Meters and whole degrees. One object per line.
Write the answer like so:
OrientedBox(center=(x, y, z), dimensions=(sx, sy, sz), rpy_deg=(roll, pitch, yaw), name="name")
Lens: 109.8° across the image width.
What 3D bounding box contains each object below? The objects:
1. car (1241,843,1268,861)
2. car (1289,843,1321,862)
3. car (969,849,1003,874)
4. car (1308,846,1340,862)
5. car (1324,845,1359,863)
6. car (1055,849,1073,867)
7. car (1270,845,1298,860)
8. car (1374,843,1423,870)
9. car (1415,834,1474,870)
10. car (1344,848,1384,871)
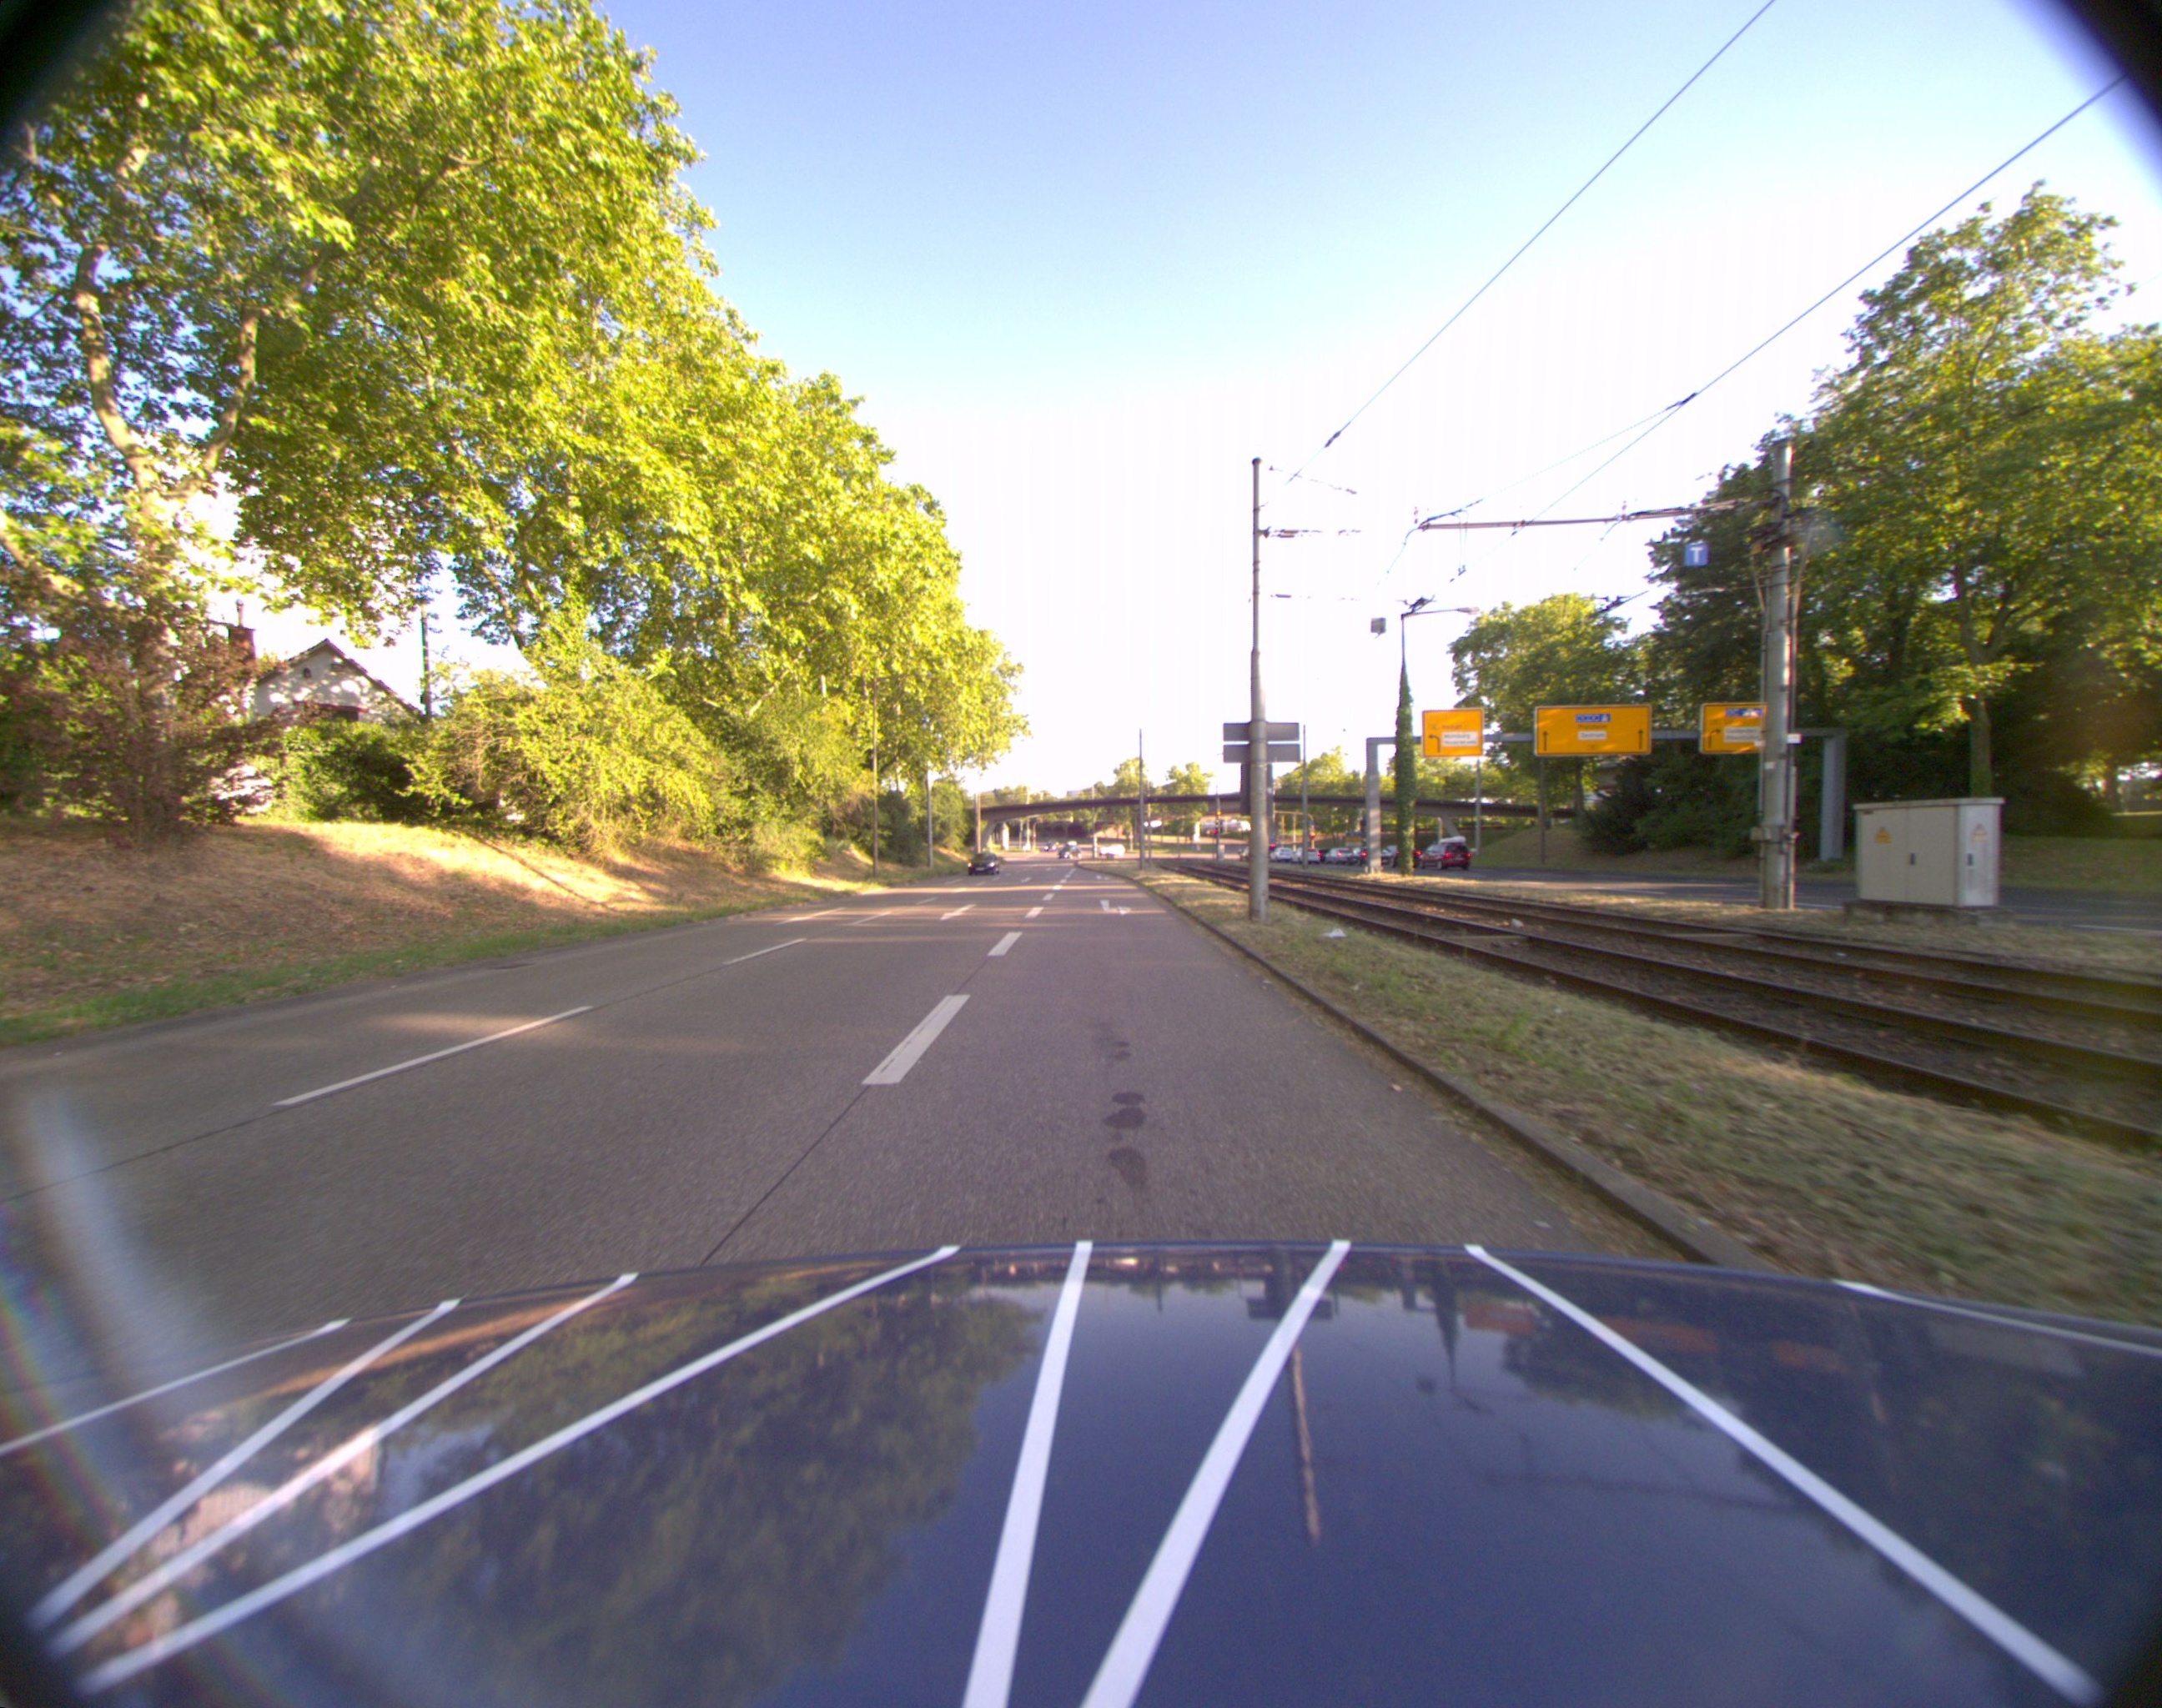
OrientedBox(center=(16.081, -0.220, 70.470), dimensions=(1.667, 1.556, 3.999), rpy_deg=(-2, 1, 1), name="car")
OrientedBox(center=(19.732, -0.130, 67.134), dimensions=(1.667, 1.556, 4.190), rpy_deg=(-2, 1, 1), name="car")
OrientedBox(center=(-6.143, 0.447, 49.555), dimensions=(1.629, 1.434, 3.984), rpy_deg=(-2, 1, 1), name="car")
OrientedBox(center=(23.997, -0.024, 75.097), dimensions=(1.796, 1.375, 4.476), rpy_deg=(-2, 1, 1), name="car")
OrientedBox(center=(23.720, -0.011, 69.300), dimensions=(1.796, 1.473, 3.999), rpy_deg=(-2, 1, 1), name="car")
OrientedBox(center=(-2.114, 0.454, 97.442), dimensions=(1.998, 2.150, 4.191), rpy_deg=(-2, 1, 2), name="car")
OrientedBox(center=(19.735, -0.176, 74.113), dimensions=(1.745, 1.424, 4.411), rpy_deg=(1, 1, 3), name="car")
OrientedBox(center=(22.945, 0.142, 55.033), dimensions=(1.796, 1.740, 4.240), rpy_deg=(-2, 1, 1), name="car")
OrientedBox(center=(23.015, -0.159, 48.253), dimensions=(1.797, 2.093, 3.999), rpy_deg=(-2, 1, 1), name="car")
OrientedBox(center=(22.852, 0.401, 61.539), dimensions=(1.796, 1.740, 3.999), rpy_deg=(-2, 1, 1), name="car")
